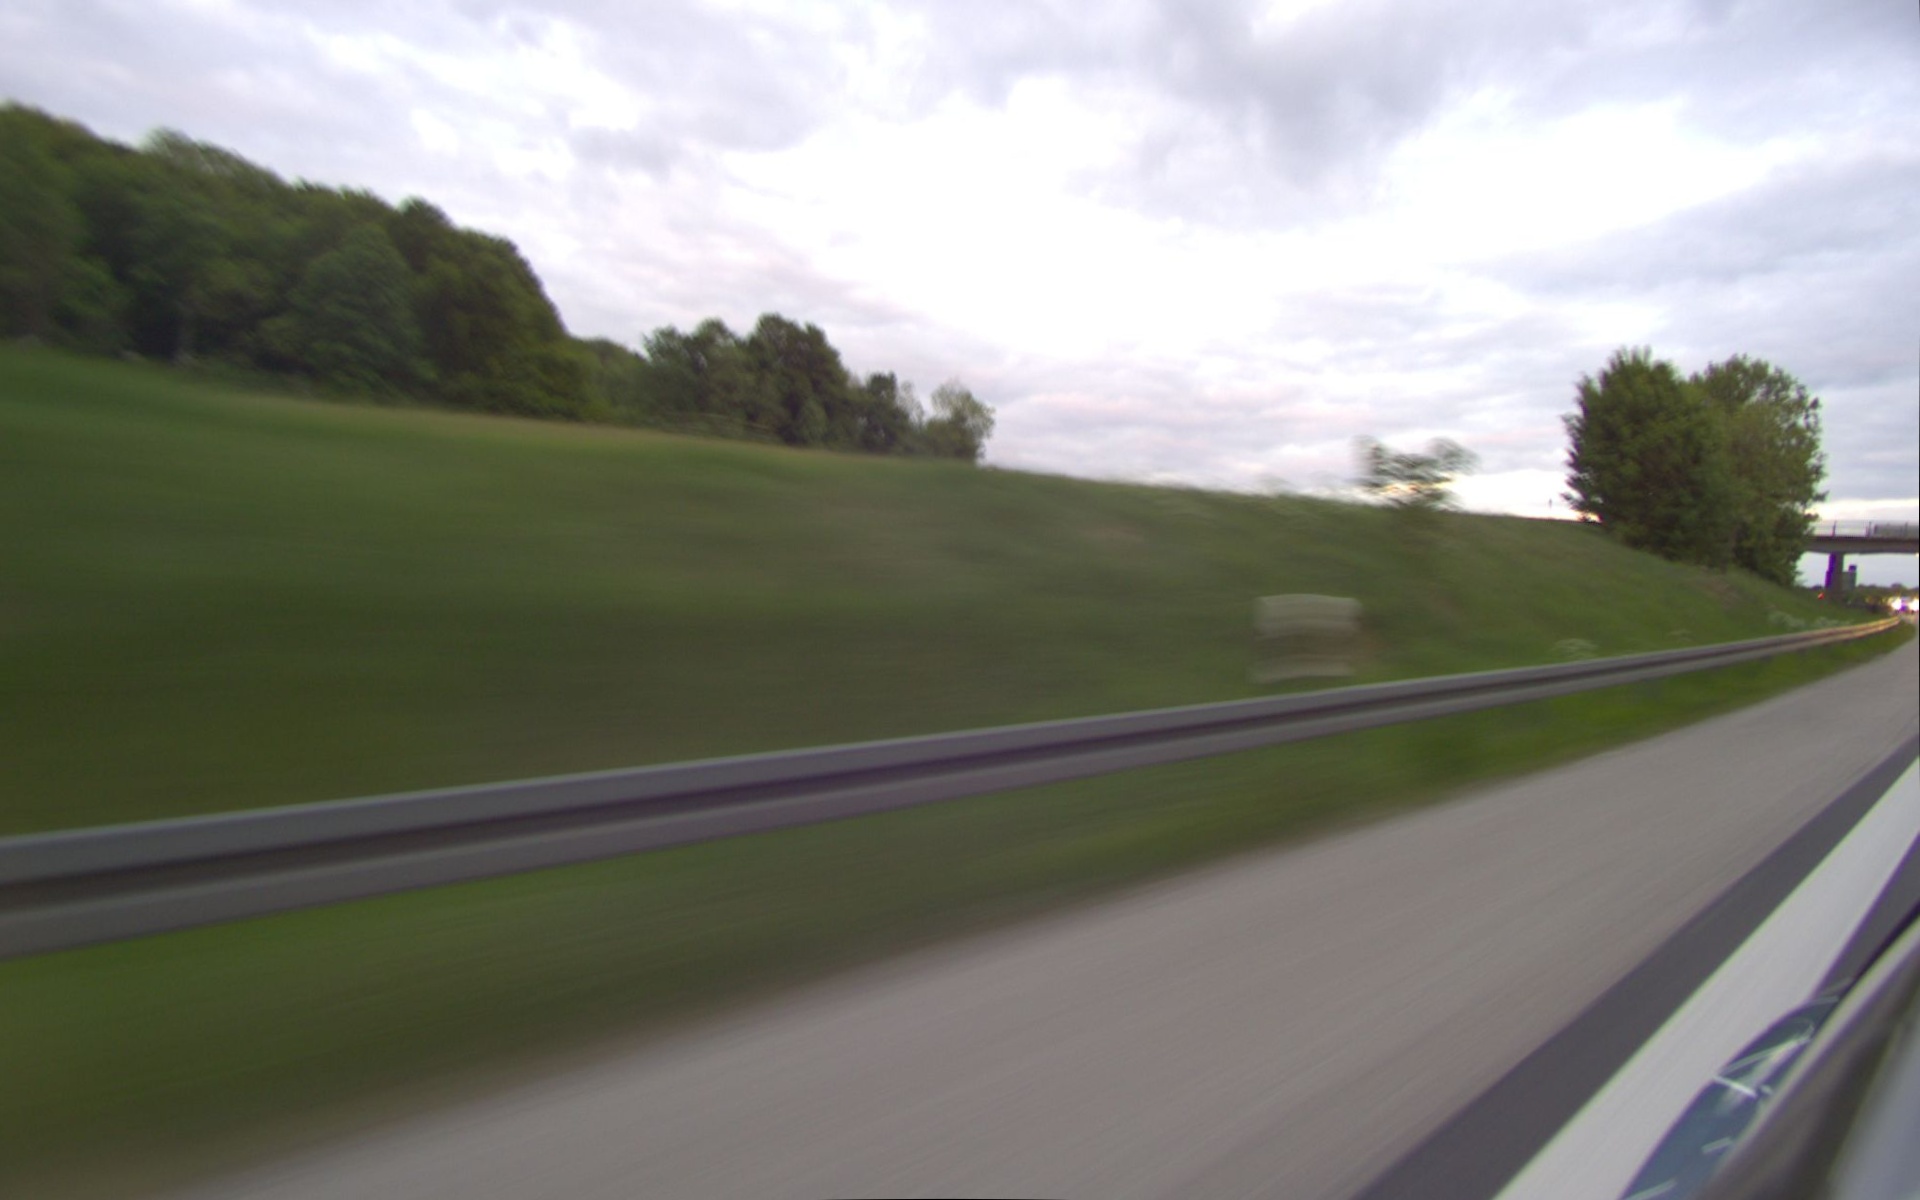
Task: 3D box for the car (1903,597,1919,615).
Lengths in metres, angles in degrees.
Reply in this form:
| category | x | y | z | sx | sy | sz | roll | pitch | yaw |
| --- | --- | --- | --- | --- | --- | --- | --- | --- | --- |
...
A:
| category | x | y | z | sx | sy | sz | roll | pitch | yaw |
| --- | --- | --- | --- | --- | --- | --- | --- | --- | --- |
| car | 108.205 | 0.701 | 114.517 | 1.914 | 1.860 | 3.940 | 4 | 2 | 41 |
